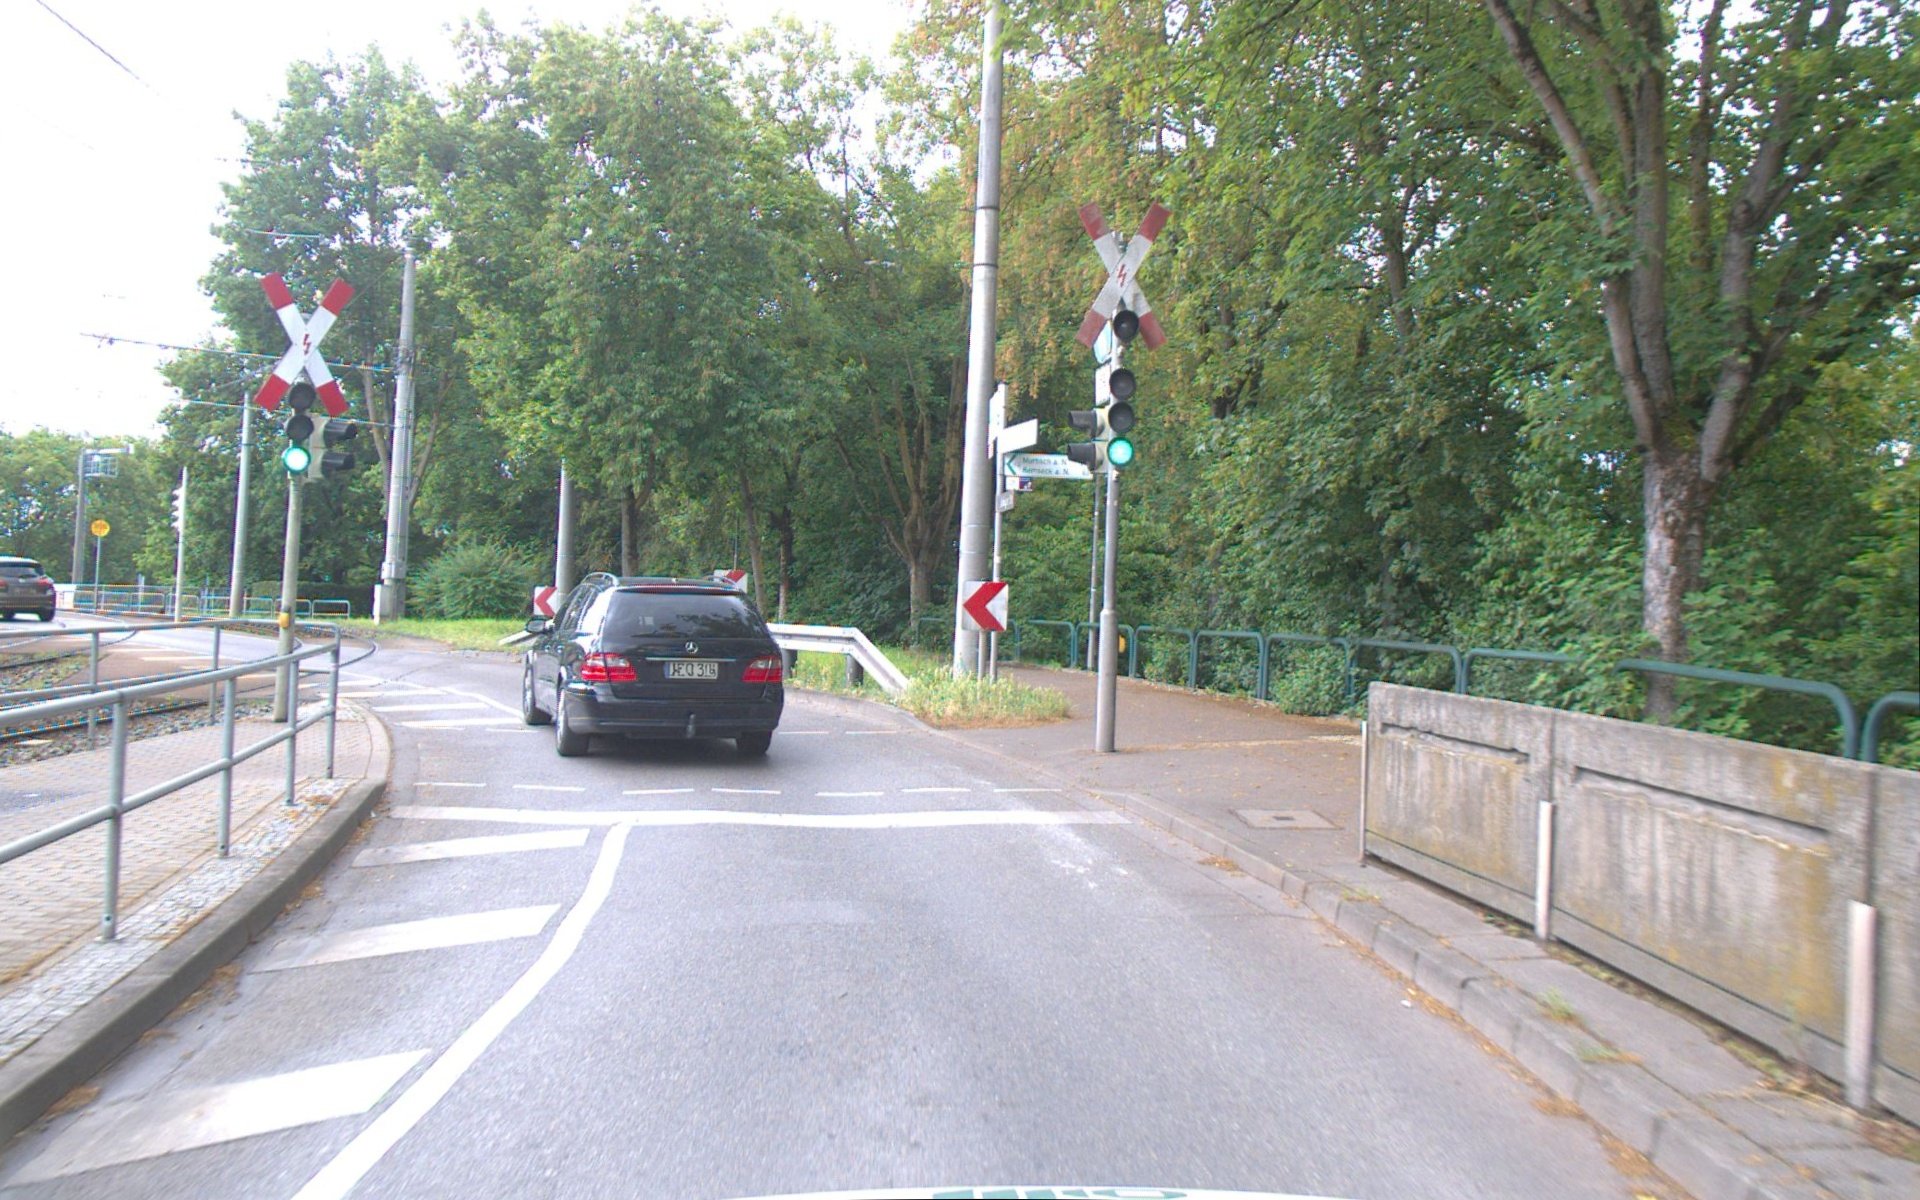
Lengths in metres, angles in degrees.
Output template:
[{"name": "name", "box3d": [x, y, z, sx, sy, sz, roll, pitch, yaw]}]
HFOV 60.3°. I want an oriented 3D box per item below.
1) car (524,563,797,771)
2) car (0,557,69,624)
[{"name": "car", "box3d": [-2.861, 0.476, 14.984, 1.733, 1.542, 4.418, 1, 1, -19]}, {"name": "car", "box3d": [-23.783, -0.263, 40.541, 4.155, 1.582, 1.770, 1, 0, 35]}]
